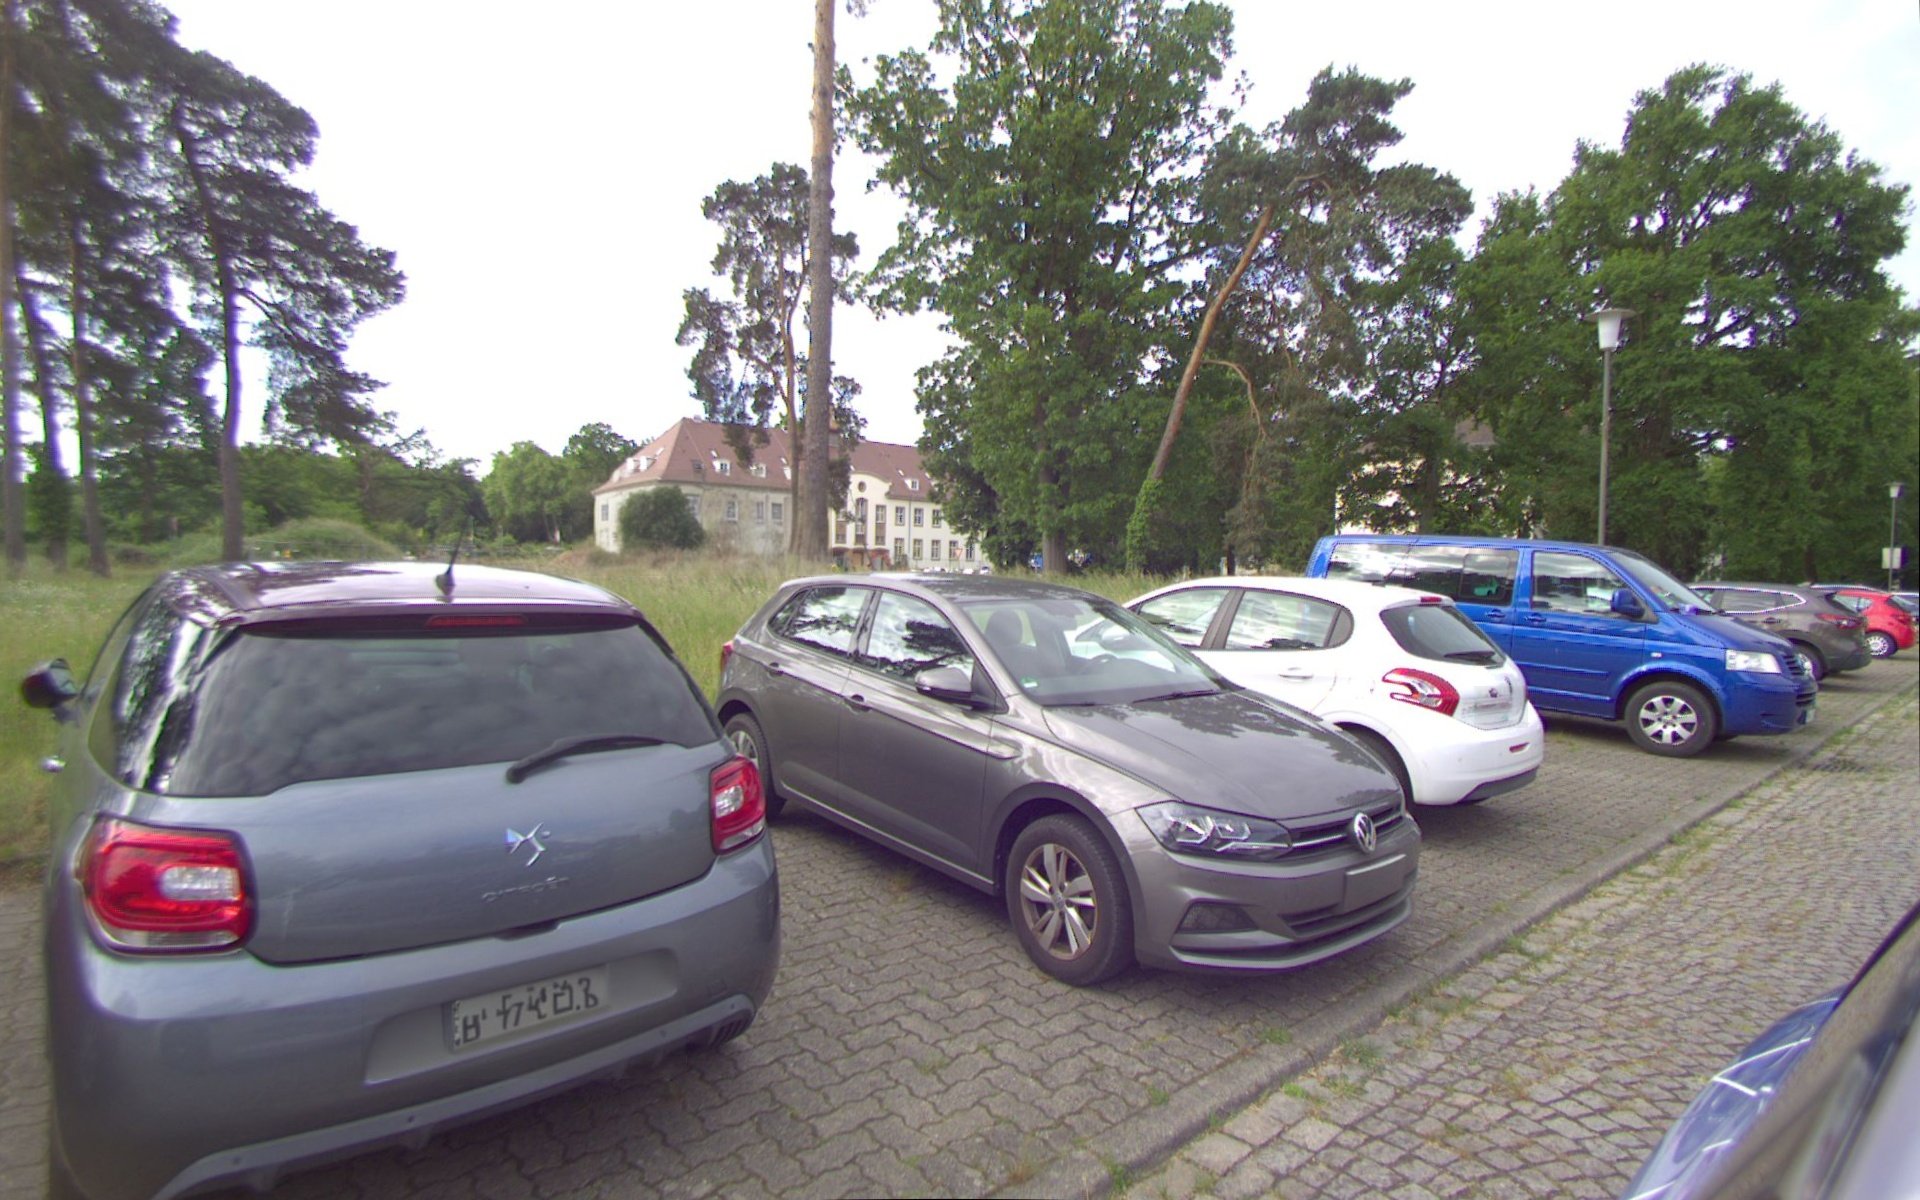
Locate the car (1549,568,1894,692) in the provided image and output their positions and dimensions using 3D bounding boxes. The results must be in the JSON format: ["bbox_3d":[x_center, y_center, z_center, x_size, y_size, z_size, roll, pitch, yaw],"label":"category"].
[{"bbox_3d":[12.442,0.371,16.756,1.791,1.618,4.267,0,4,-42],"label":"car"}]

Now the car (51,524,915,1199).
[{"bbox_3d":[-2.079,0.545,3.624,1.728,1.490,3.869,0,4,-42],"label":"car"}]

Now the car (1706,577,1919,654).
[{"bbox_3d":[19.932,0.298,23.533,1.556,1.477,3.891,0,4,-42],"label":"car"}]

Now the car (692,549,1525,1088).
[{"bbox_3d":[0.367,0.579,5.043,1.728,1.490,3.871,0,4,-41],"label":"car"}]

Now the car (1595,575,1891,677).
[{"bbox_3d":[14.316,0.387,18.685,1.735,1.503,4.015,0,4,-41],"label":"car"}]

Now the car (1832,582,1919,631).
[{"bbox_3d":[31.115,0.245,32.988,1.556,1.443,3.874,0,4,-42],"label":"car"}]

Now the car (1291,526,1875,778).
[{"bbox_3d":[6.234,0.293,10.665,1.969,1.969,4.816,0,4,-42],"label":"car"}]

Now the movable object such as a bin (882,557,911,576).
[{"bbox_3d":[-7.129,-3.747,114.113,2.933,2.038,1.553,0,2,-41],"label":"movable object such as a bin"}]

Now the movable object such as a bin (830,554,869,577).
[{"bbox_3d":[-10.286,-3.235,94.413,3.181,2.038,1.682,0,2,-34],"label":"movable object such as a bin"}]

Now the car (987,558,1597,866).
[{"bbox_3d":[2.147,0.535,7.412,1.727,1.490,3.872,0,4,-40],"label":"car"}]

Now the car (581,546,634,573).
[{"bbox_3d":[-33.704,-3.897,96.654,5.847,2.268,2.283,5,4,42],"label":"car"}]

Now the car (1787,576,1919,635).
[{"bbox_3d":[27.495,0.156,30.174,1.555,1.556,4.147,0,4,-42],"label":"car"}]

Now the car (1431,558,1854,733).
[{"bbox_3d":[8.132,0.403,12.321,1.810,1.489,3.871,0,6,-42],"label":"car"}]
